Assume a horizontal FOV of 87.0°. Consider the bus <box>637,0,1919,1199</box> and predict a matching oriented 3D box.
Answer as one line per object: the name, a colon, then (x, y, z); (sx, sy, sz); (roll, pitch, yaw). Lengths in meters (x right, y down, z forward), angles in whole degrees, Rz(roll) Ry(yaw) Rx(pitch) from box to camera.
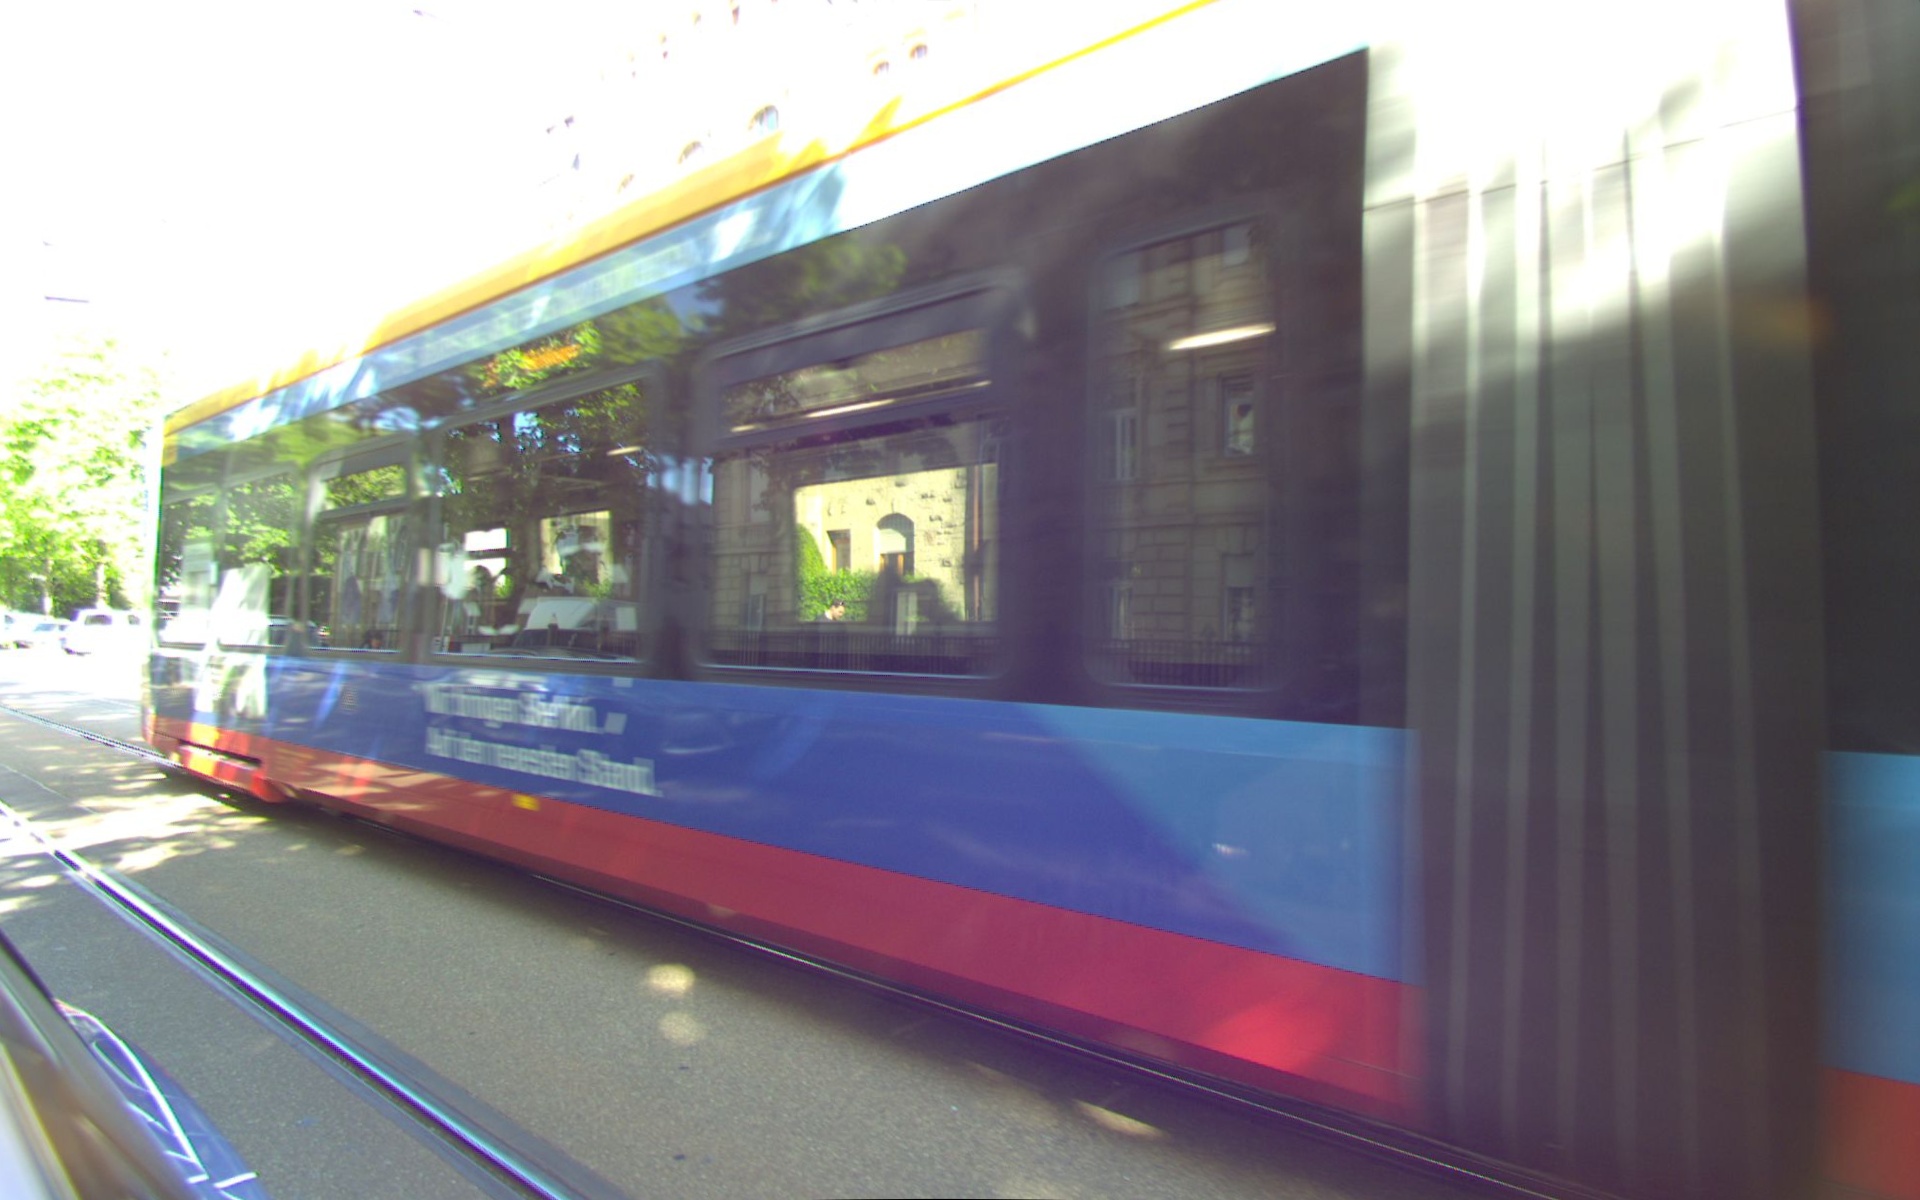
bus: (4.173, -0.588, 1.183); (11.485, 3.805, 2.832); (0, 0, 39)
